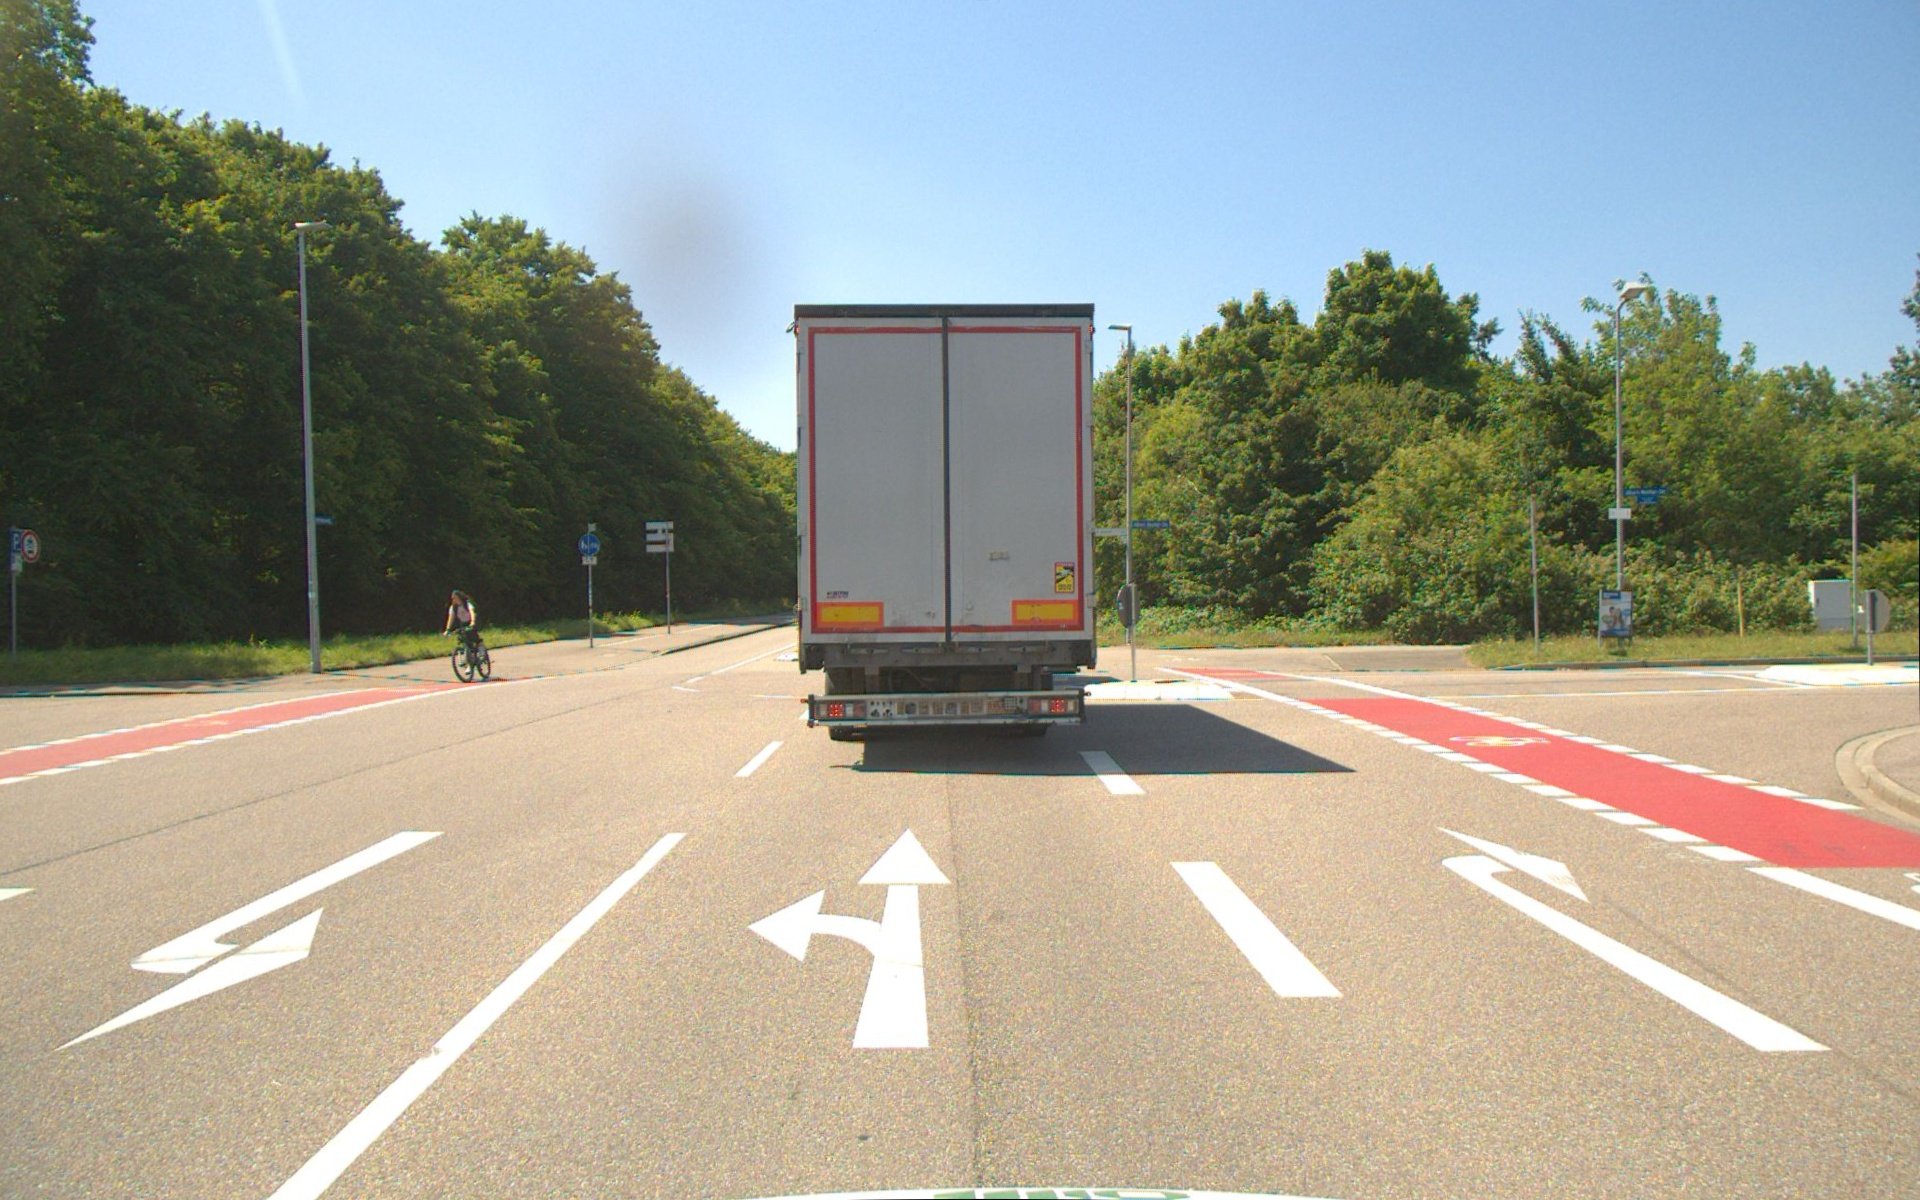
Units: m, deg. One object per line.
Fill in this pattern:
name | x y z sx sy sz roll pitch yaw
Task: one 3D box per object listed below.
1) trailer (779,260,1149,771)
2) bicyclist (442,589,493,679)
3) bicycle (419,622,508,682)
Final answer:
trailer | -0.308 -0.730 18.406 3.017 4.141 9.800 0 0 -4
bicyclist | -9.685 0.662 32.527 0.651 1.735 0.770 0 1 17
bicycle | -9.717 1.009 32.430 0.655 1.073 2.046 0 1 17
